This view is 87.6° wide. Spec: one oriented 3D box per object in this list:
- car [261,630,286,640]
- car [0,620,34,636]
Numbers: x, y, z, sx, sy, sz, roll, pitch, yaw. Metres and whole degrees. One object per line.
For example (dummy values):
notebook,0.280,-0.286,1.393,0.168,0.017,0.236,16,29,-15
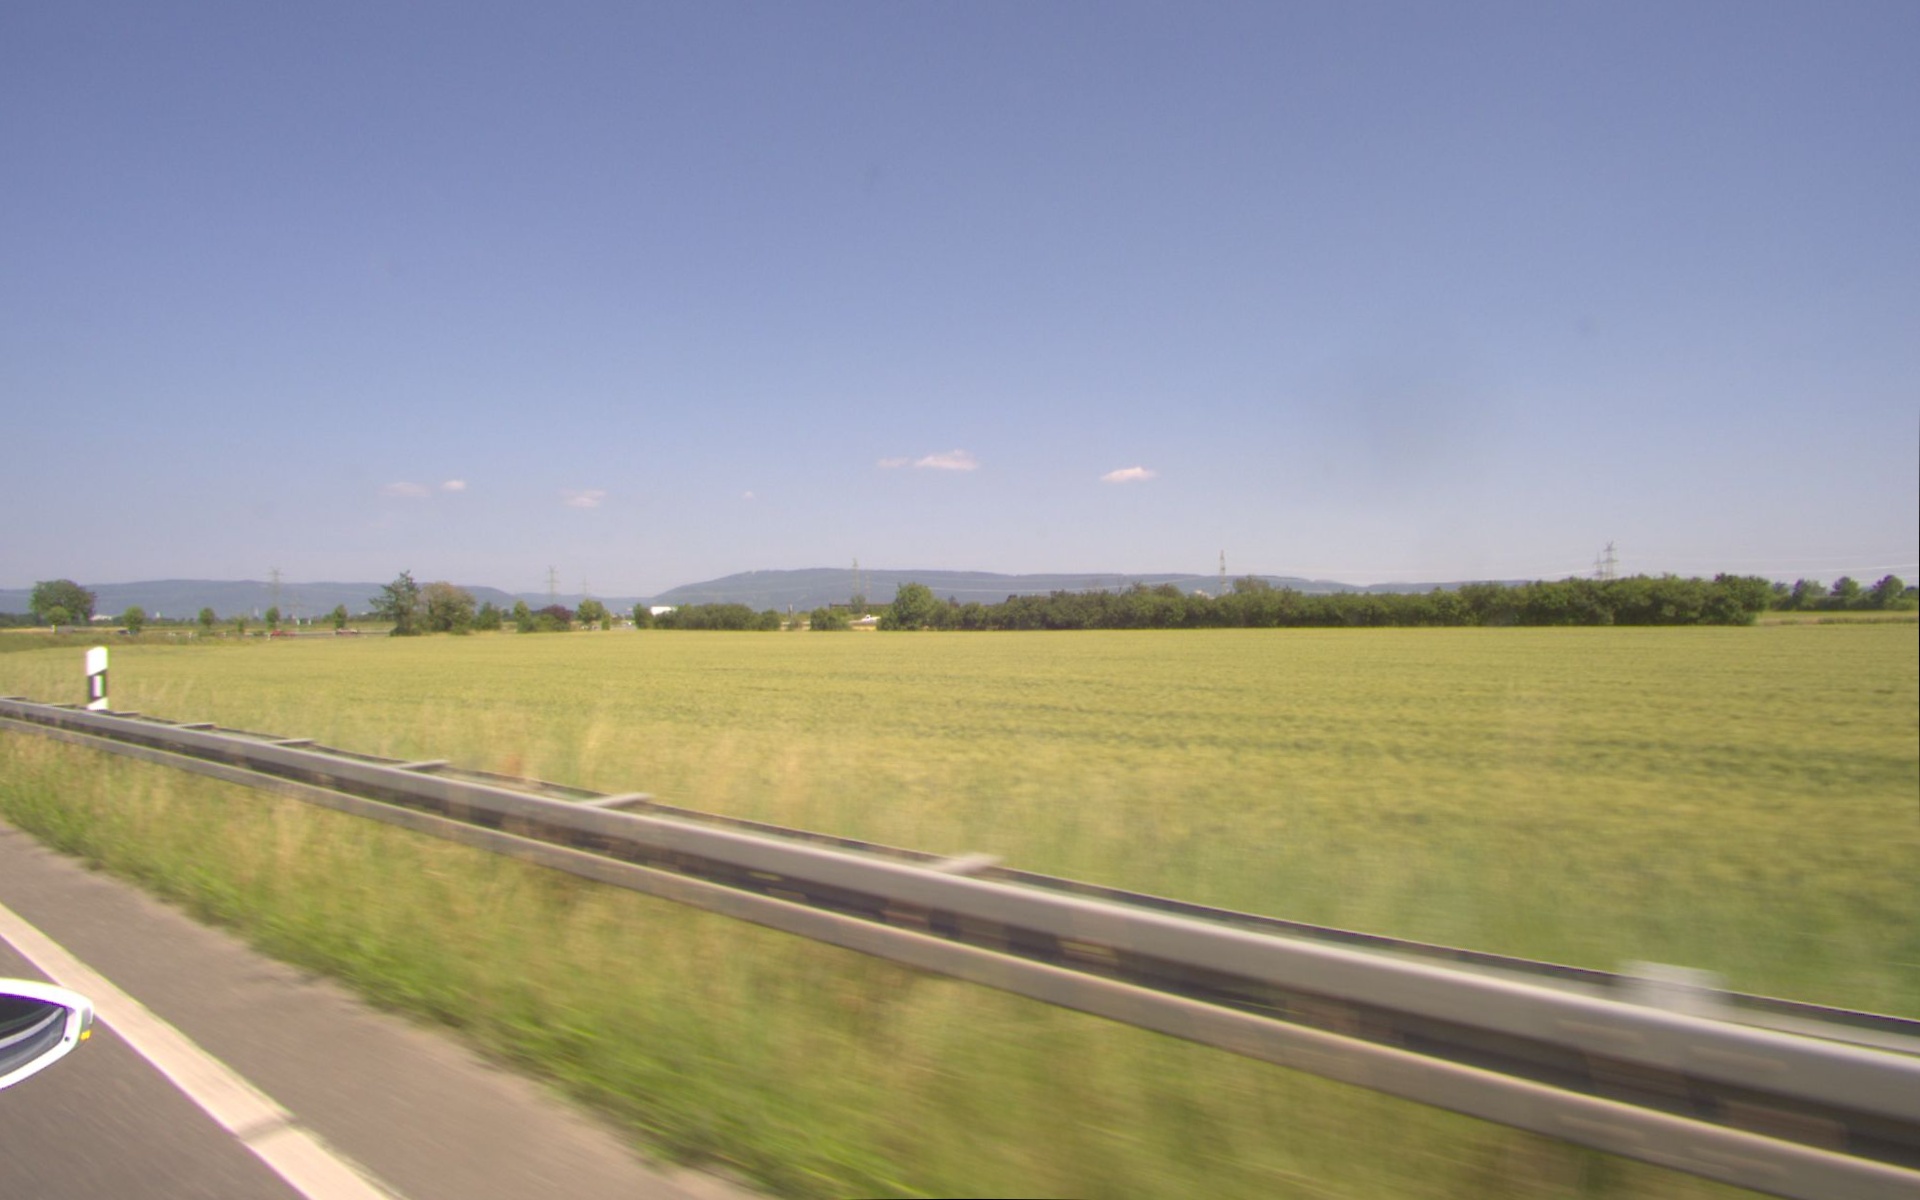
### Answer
car,-113.109,5.744,165.011,1.617,1.504,3.487,0,-3,-1
car,-104.190,3.060,109.497,1.961,1.705,4.002,0,-3,6
